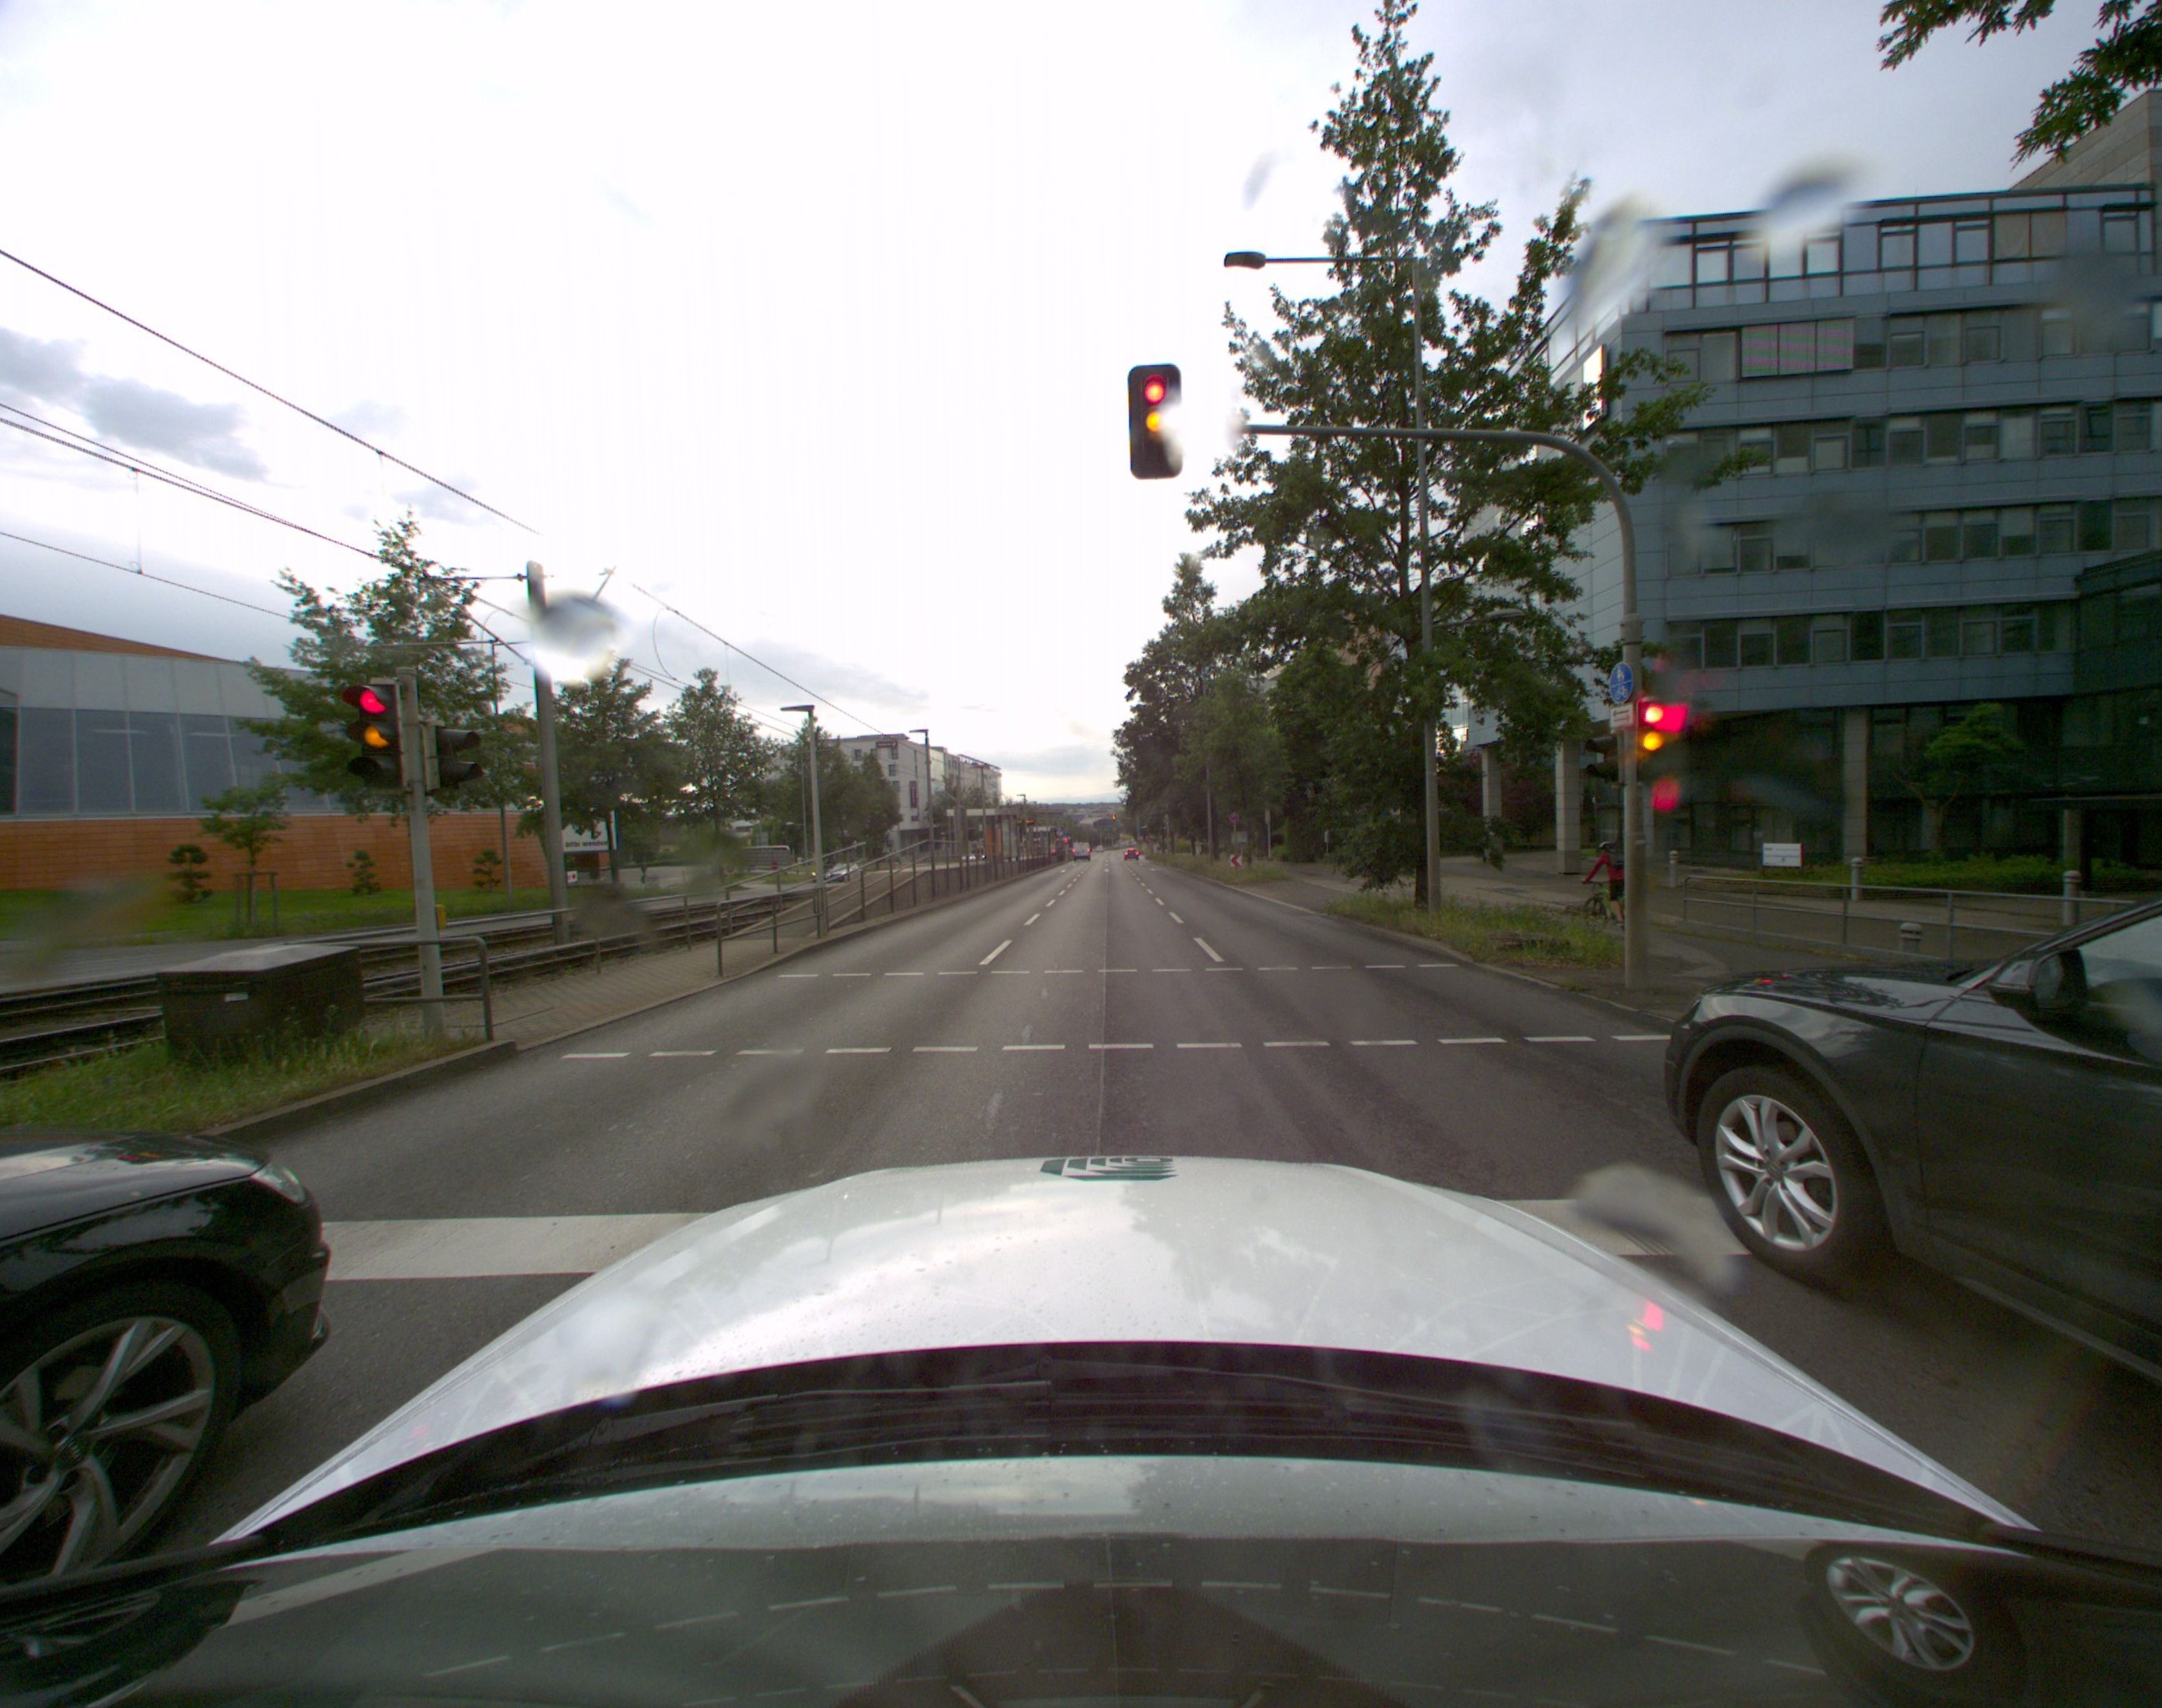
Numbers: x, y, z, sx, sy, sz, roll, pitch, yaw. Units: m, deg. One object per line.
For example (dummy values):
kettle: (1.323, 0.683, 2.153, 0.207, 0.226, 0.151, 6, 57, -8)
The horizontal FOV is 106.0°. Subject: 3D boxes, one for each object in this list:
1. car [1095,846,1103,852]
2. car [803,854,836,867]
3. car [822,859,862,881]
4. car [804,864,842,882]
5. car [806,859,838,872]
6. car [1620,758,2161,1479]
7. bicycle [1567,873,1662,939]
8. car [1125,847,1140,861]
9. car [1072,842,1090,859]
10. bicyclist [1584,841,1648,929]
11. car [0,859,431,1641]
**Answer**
car: (4.273, -1.258, 192.034, 1.775, 1.390, 4.005, -2, 0, 4)
car: (-30.118, 0.724, 93.772, 3.341, 1.387, 1.440, -1, 0, 18)
car: (-17.686, 1.166, 60.477, 1.645, 1.436, 3.880, -4, 0, 1)
car: (-20.711, 1.517, 65.454, 1.644, 1.237, 3.970, -1, 1, 2)
car: (-30.728, 1.368, 96.693, 3.341, 1.387, 1.440, -1, 0, 18)
car: (3.298, 0.576, 1.439, 1.811, 1.612, 4.472, -1, 0, 2)
bicycle: (9.906, 0.939, 15.205, 0.578, 1.088, 1.906, 0, 0, 2)
car: (6.491, 0.024, 102.839, 1.767, 1.691, 3.847, -1, 0, 2)
car: (-0.019, -0.452, 102.737, 2.085, 2.053, 4.608, -1, 0, 2)
bicyclist: (9.877, 0.550, 15.061, 0.643, 1.578, 0.855, 0, 0, 1)
car: (-2.977, 0.777, 0.273, 1.774, 1.466, 4.515, -1, 0, 2)
